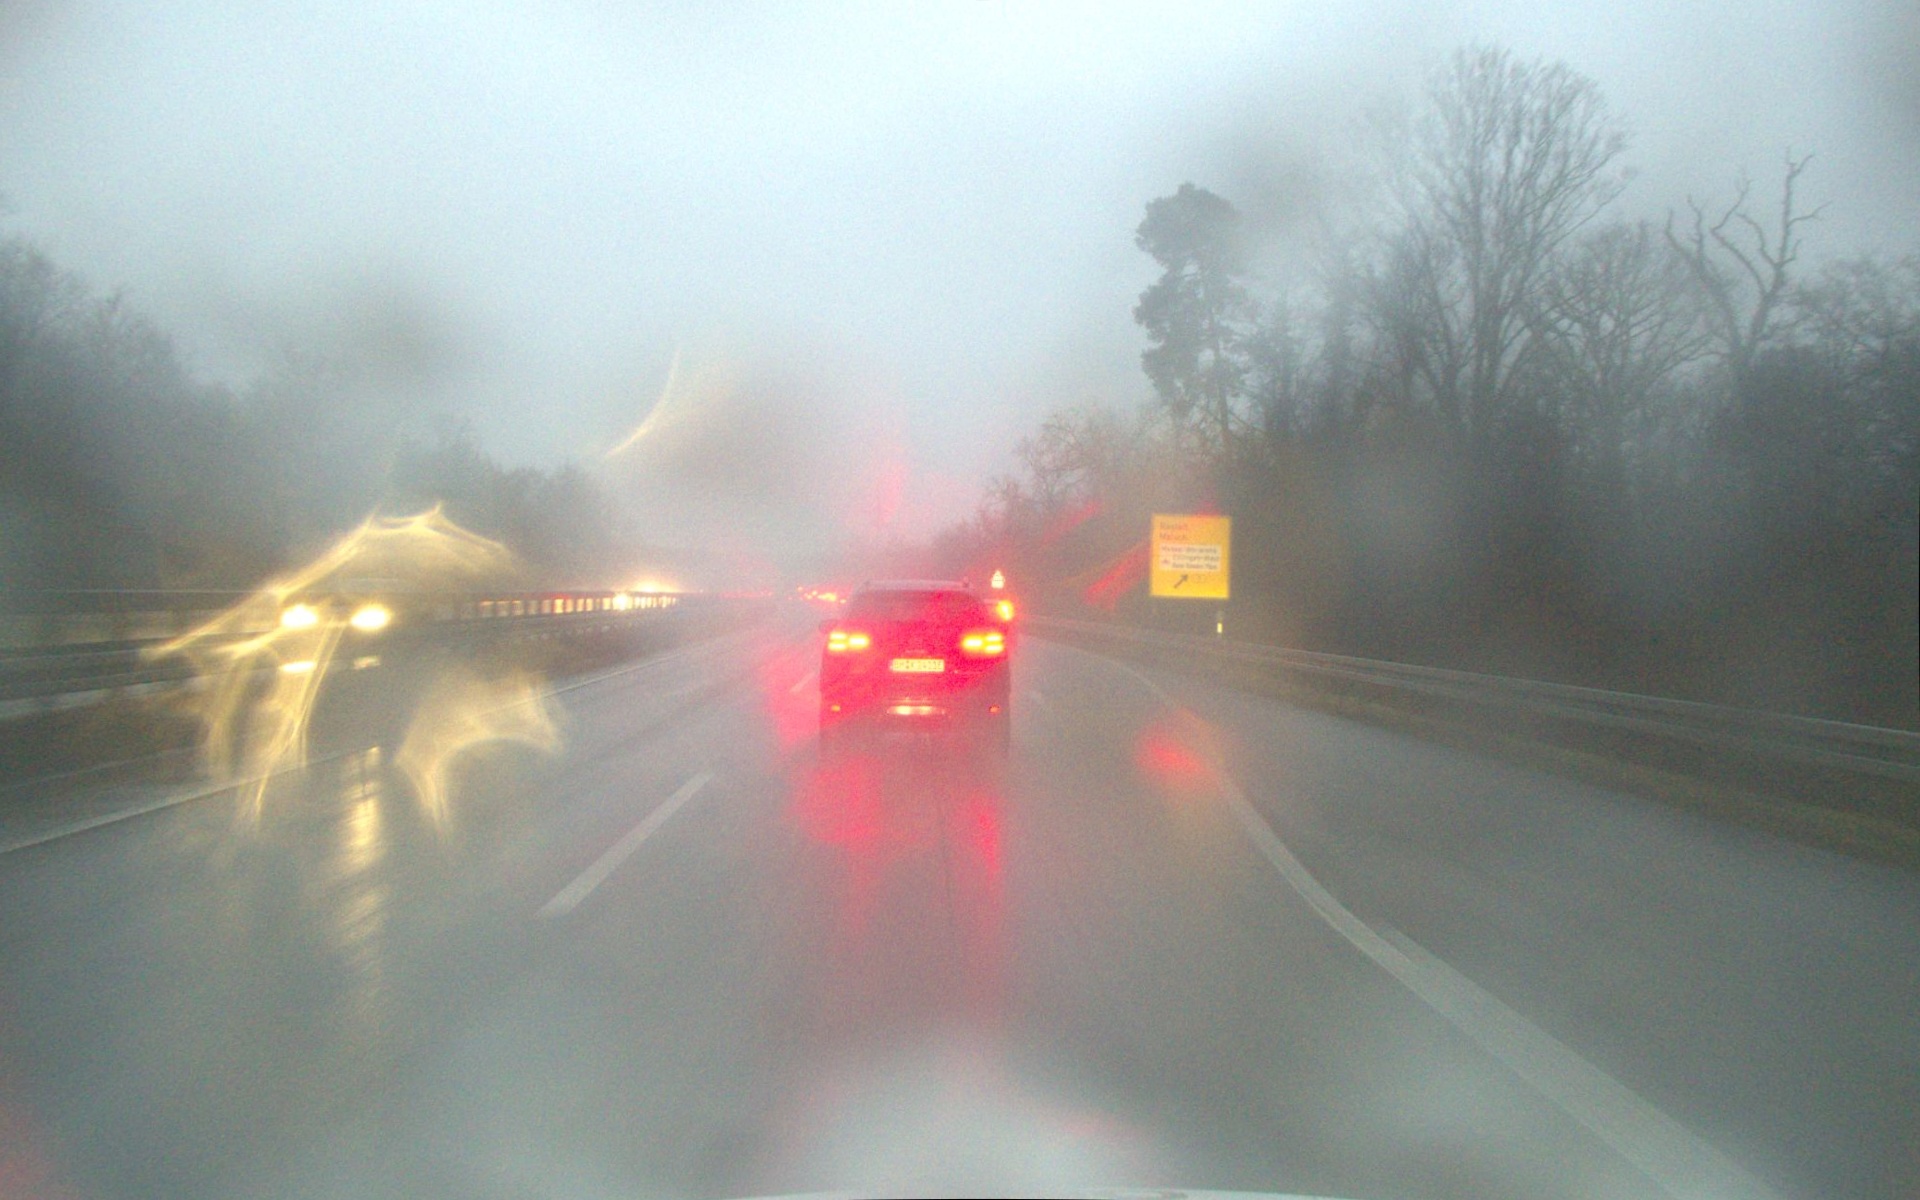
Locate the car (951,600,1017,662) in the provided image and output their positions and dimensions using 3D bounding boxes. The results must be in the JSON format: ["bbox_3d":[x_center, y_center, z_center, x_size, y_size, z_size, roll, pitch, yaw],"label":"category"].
[{"bbox_3d":[0.565,0.734,41.005,1.537,1.433,3.646,1,0,0],"label":"car"}]

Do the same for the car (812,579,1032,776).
[{"bbox_3d":[-0.418,0.697,16.743,1.952,1.745,3.828,1,0,-3],"label":"car"}]

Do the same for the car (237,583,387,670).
[{"bbox_3d":[-12.061,0.477,30.979,1.527,1.525,3.429,1,0,-2],"label":"car"}]

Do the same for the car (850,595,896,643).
[{"bbox_3d":[-3.835,0.838,73.425,1.953,2.049,3.998,1,0,-3],"label":"car"}]
